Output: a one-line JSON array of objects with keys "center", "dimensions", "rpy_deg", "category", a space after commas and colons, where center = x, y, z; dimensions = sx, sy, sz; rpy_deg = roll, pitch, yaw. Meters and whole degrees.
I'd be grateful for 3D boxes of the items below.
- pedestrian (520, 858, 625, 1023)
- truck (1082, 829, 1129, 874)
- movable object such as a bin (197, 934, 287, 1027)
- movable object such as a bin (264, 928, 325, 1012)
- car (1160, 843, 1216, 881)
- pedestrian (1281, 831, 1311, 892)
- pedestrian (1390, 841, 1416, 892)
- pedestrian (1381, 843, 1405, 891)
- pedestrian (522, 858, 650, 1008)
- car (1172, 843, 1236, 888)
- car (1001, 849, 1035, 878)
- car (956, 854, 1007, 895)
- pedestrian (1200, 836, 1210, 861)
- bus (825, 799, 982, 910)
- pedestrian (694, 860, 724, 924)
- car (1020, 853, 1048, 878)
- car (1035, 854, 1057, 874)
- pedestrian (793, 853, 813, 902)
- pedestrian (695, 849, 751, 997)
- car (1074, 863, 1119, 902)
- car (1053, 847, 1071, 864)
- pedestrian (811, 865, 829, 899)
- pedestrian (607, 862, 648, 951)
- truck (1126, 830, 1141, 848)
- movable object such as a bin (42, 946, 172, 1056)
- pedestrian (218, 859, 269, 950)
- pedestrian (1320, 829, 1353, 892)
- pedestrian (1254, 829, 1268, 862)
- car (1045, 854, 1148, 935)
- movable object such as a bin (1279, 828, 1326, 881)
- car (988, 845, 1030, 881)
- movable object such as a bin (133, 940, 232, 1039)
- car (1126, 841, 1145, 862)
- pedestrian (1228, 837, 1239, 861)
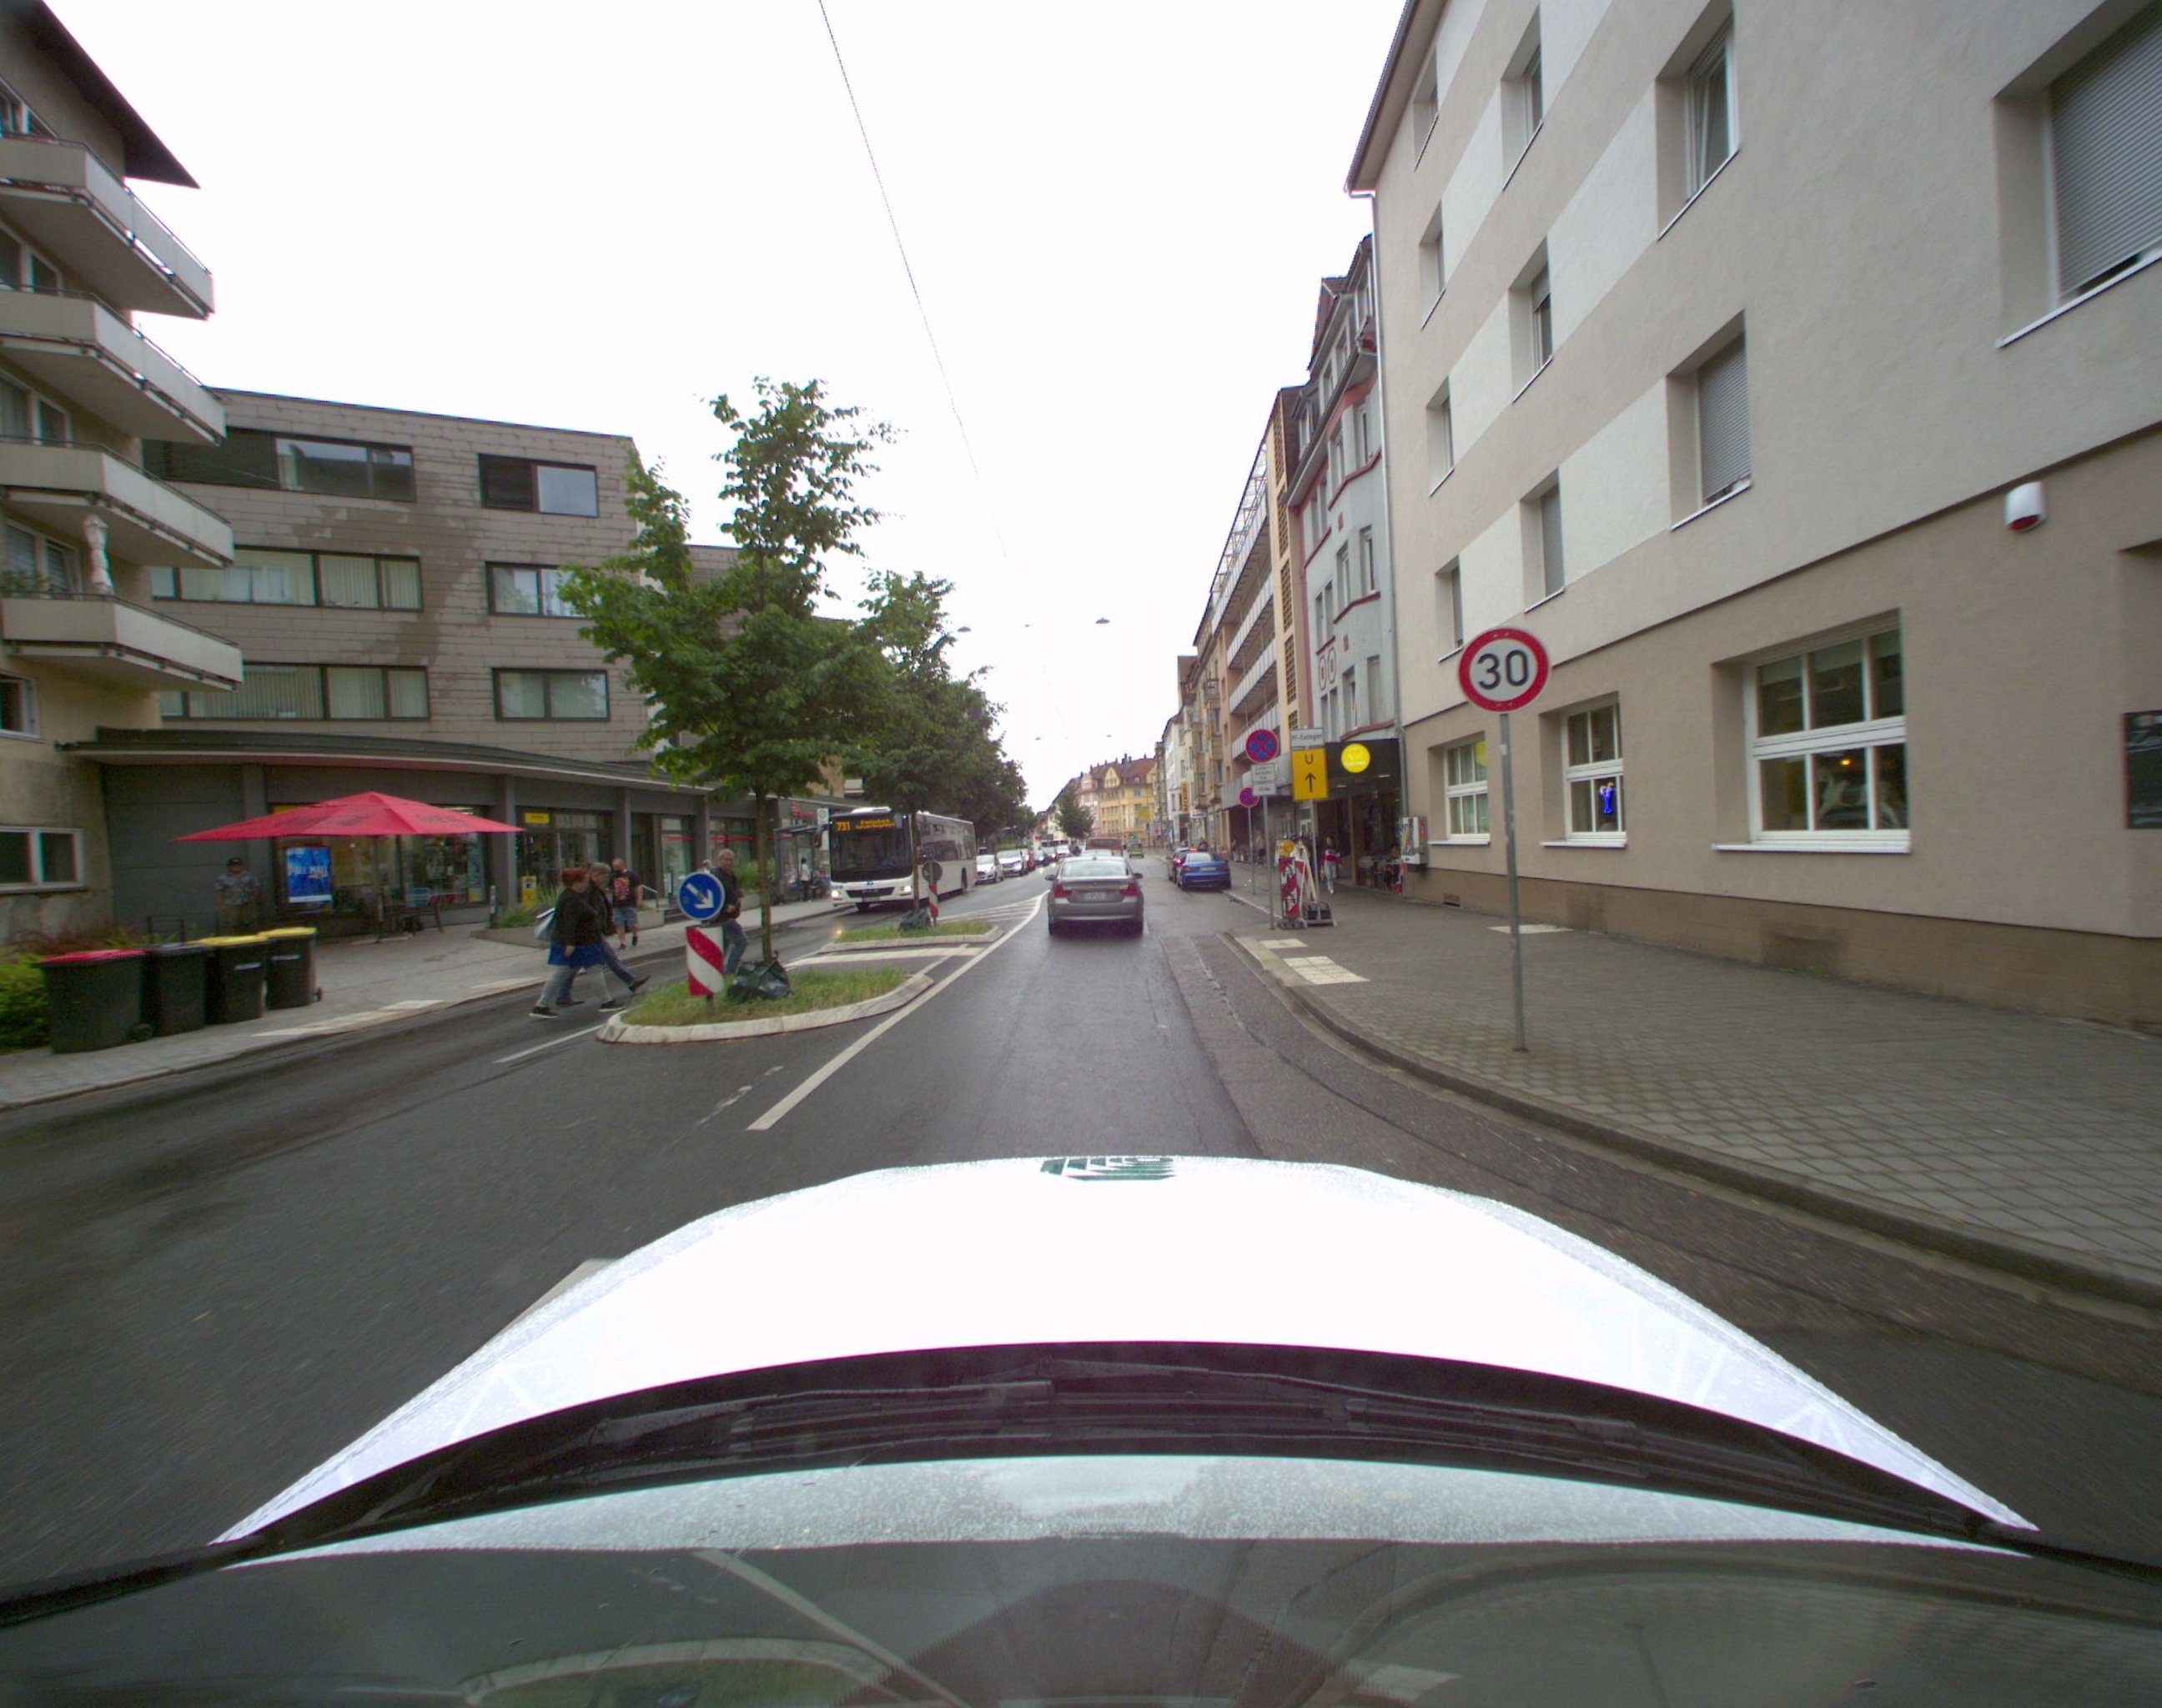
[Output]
[{"center": [-5.669, 0.931, 9.118], "dimensions": [0.741, 1.709, 0.676], "rpy_deg": [-4, 0, -18], "category": "pedestrian"}, {"center": [1.199, -0.080, 41.576], "dimensions": [2.208, 2.117, 4.652], "rpy_deg": [1, -1, 1], "category": "truck"}, {"center": [-10.724, 1.602, 10.423], "dimensions": [0.488, 1.081, 0.606], "rpy_deg": [-3, -2, 3], "category": "movable object such as a bin"}, {"center": [-10.848, 1.578, 11.237], "dimensions": [0.466, 1.071, 0.544], "rpy_deg": [-5, -2, 39], "category": "movable object such as a bin"}, {"center": [4.541, 0.368, 35.020], "dimensions": [1.986, 1.519, 4.001], "rpy_deg": [0, -1, 2], "category": "car"}, {"center": [6.033, 0.215, 22.867], "dimensions": [0.744, 1.661, 0.839], "rpy_deg": [0, -2, 9], "category": "pedestrian"}, {"center": [7.850, 0.307, 19.851], "dimensions": [0.410, 1.203, 0.357], "rpy_deg": [-5, 0, 5], "category": "pedestrian"}, {"center": [8.007, 0.335, 20.884], "dimensions": [0.410, 1.203, 0.357], "rpy_deg": [-5, 0, 5], "category": "pedestrian"}, {"center": [-6.214, 0.956, 10.277], "dimensions": [1.061, 1.731, 0.712], "rpy_deg": [-4, 0, -7], "category": "pedestrian"}, {"center": [4.318, 0.374, 29.086], "dimensions": [1.802, 1.519, 4.002], "rpy_deg": [0, 0, 2], "category": "car"}, {"center": [-4.452, 0.732, 58.370], "dimensions": [1.986, 2.014, 4.001], "rpy_deg": [0, -1, 2], "category": "car"}, {"center": [-5.108, 1.048, 42.237], "dimensions": [1.986, 2.014, 4.001], "rpy_deg": [0, -1, 2], "category": "car"}, {"center": [7.281, -0.314, 47.853], "dimensions": [0.519, 1.421, 0.431], "rpy_deg": [0, -2, 11], "category": "pedestrian"}, {"center": [-5.888, 0.106, 29.629], "dimensions": [2.671, 3.201, 11.960], "rpy_deg": [0, -1, 2], "category": "bus"}, {"center": [-10.122, 1.021, 22.169], "dimensions": [0.660, 1.706, 0.657], "rpy_deg": [1, -2, -21], "category": "pedestrian"}, {"center": [-3.992, 1.019, 69.876], "dimensions": [1.986, 2.014, 4.001], "rpy_deg": [0, -1, 2], "category": "car"}, {"center": [-3.513, 1.044, 82.277], "dimensions": [1.986, 2.014, 4.001], "rpy_deg": [0, -1, 2], "category": "car"}, {"center": [-9.788, 0.829, 28.687], "dimensions": [0.542, 1.709, 0.465], "rpy_deg": [0, -2, -4], "category": "pedestrian"}, {"center": [-4.331, 0.815, 9.871], "dimensions": [0.466, 1.709, 0.541], "rpy_deg": [-3, 0, -18], "category": "pedestrian"}, {"center": [0.571, 1.066, 30.974], "dimensions": [1.596, 1.420, 3.287], "rpy_deg": [0, -1, 0], "category": "car"}, {"center": [-2.299, 0.188, 99.776], "dimensions": [1.986, 2.014, 4.001], "rpy_deg": [0, -1, 2], "category": "car"}, {"center": [-9.784, 1.048, 30.546], "dimensions": [0.462, 1.231, 0.545], "rpy_deg": [0, -2, 4], "category": "pedestrian"}, {"center": [-9.193, 1.053, 16.523], "dimensions": [0.542, 1.790, 0.465], "rpy_deg": [1, -2, -6], "category": "pedestrian"}, {"center": [8.029, -2.207, 125.073], "dimensions": [2.208, 2.544, 4.781], "rpy_deg": [0, -1, 2], "category": "truck"}, {"center": [-10.861, 1.620, 9.107], "dimensions": [0.551, 1.081, 0.731], "rpy_deg": [-3, -2, 3], "category": "movable object such as a bin"}, {"center": [-17.405, 1.036, 16.939], "dimensions": [0.639, 1.816, 0.630], "rpy_deg": [-2, 0, -41], "category": "pedestrian"}, {"center": [6.930, 0.181, 22.126], "dimensions": [0.745, 1.661, 0.756], "rpy_deg": [0, -2, 9], "category": "pedestrian"}, {"center": [9.057, -0.424, 41.005], "dimensions": [0.611, 1.661, 0.756], "rpy_deg": [0, -2, 9], "category": "pedestrian"}, {"center": [0.342, 0.696, 15.535], "dimensions": [1.749, 1.362, 3.167], "rpy_deg": [-1, 0, 3], "category": "car"}, {"center": [7.511, 0.034, 27.656], "dimensions": [1.118, 1.702, 1.433], "rpy_deg": [-3, -2, 0], "category": "movable object such as a bin"}, {"center": [-4.328, 0.574, 49.434], "dimensions": [1.986, 2.014, 4.001], "rpy_deg": [-3, -2, 2], "category": "car"}, {"center": [-10.782, 1.607, 9.787], "dimensions": [0.488, 1.081, 0.606], "rpy_deg": [-3, -2, 3], "category": "movable object such as a bin"}, {"center": [5.592, -0.230, 83.273], "dimensions": [1.699, 2.014, 3.999], "rpy_deg": [0, -1, 1], "category": "car"}, {"center": [9.085, -0.281, 48.484], "dimensions": [0.560, 1.421, 0.799], "rpy_deg": [0, -2, 16], "category": "pedestrian"}]
